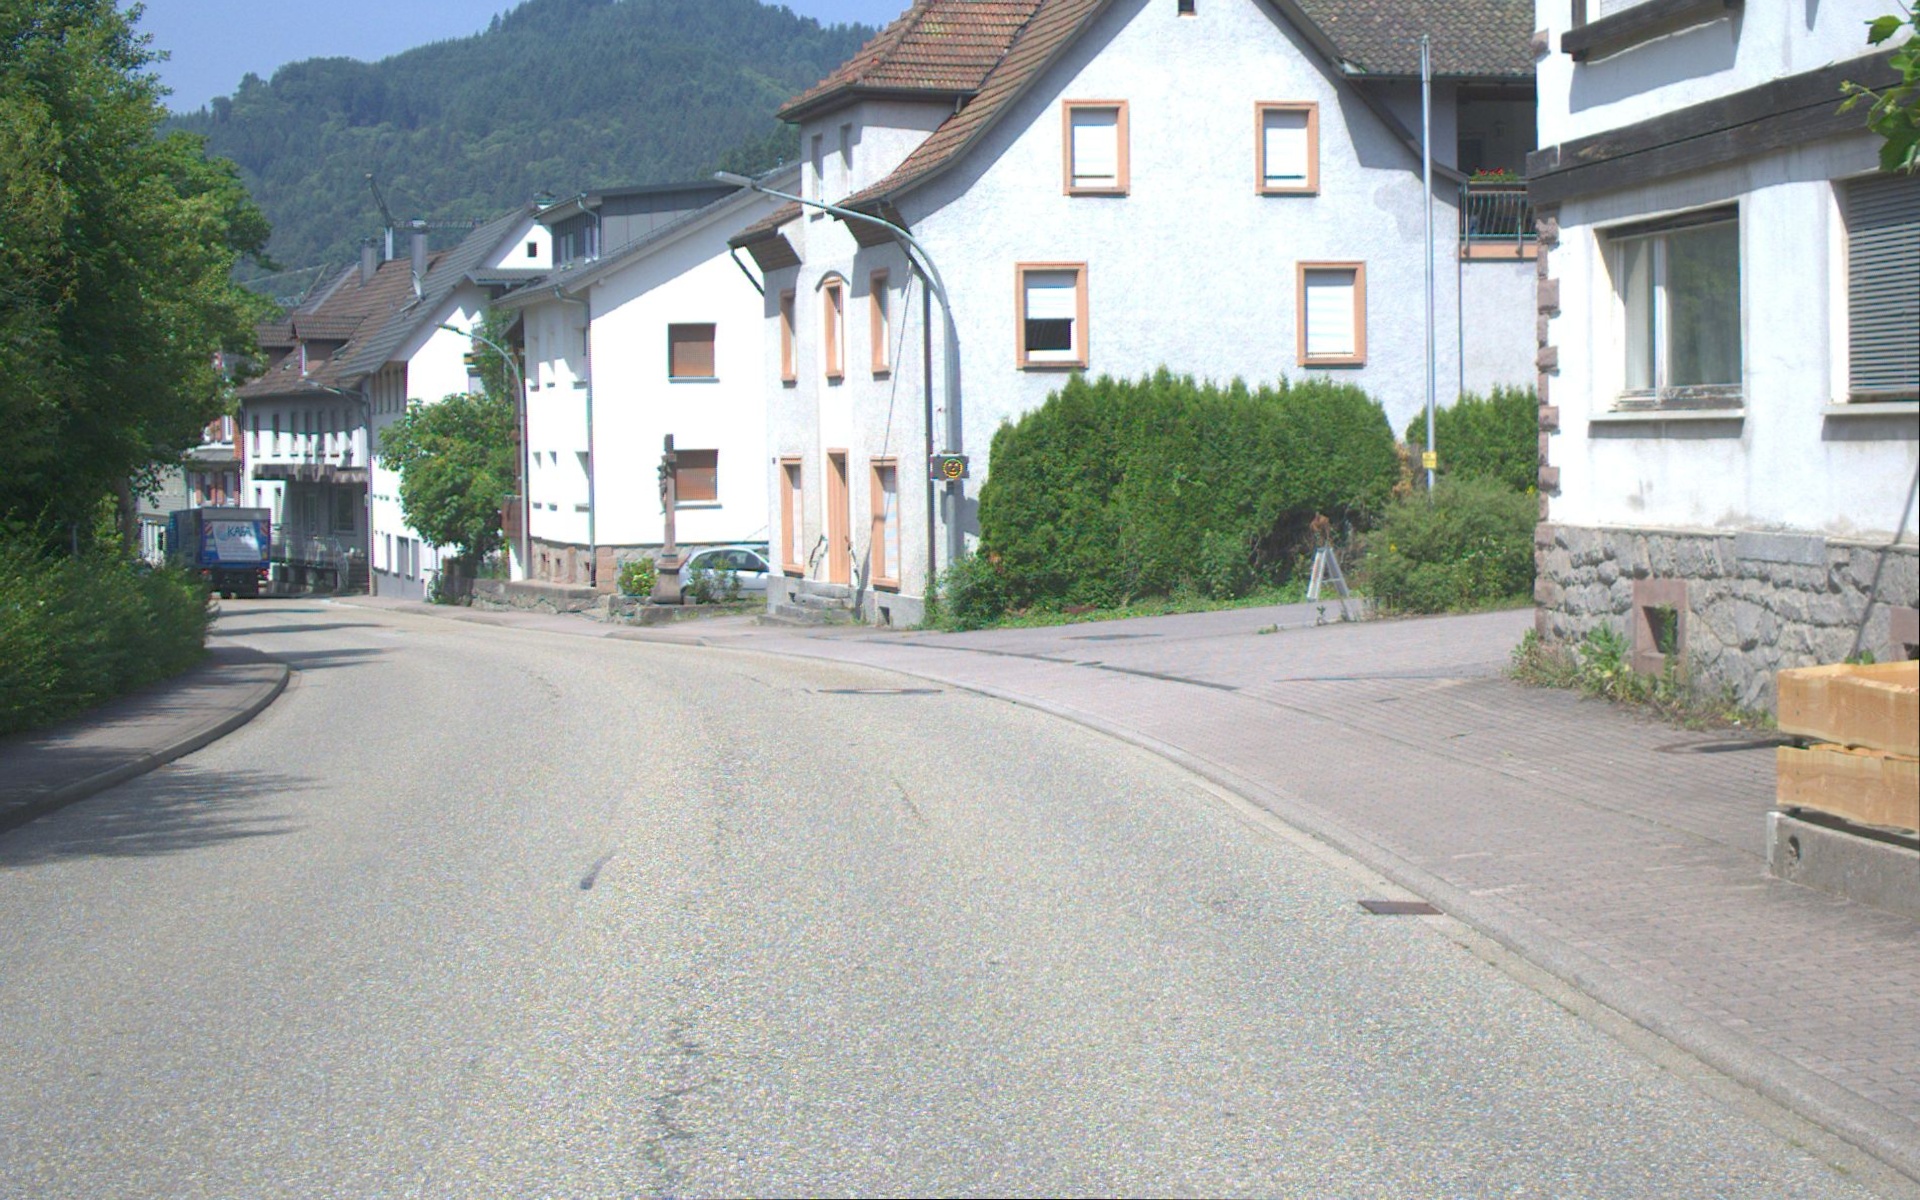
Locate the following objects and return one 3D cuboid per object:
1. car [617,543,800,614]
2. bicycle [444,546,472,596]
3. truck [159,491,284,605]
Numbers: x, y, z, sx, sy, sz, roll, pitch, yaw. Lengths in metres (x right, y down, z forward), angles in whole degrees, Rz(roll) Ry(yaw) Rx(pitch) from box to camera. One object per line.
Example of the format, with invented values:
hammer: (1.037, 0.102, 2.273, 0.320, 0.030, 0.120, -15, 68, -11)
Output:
car: (-5.607, -0.475, 76.467, 3.770, 1.422, 1.607, -1, 1, 30)
bicycle: (-14.654, -0.848, 100.268, 0.425, 1.391, 2.277, -5, 2, -15)
truck: (-28.198, -1.914, 130.946, 3.362, 3.769, 8.442, -5, 0, -19)
